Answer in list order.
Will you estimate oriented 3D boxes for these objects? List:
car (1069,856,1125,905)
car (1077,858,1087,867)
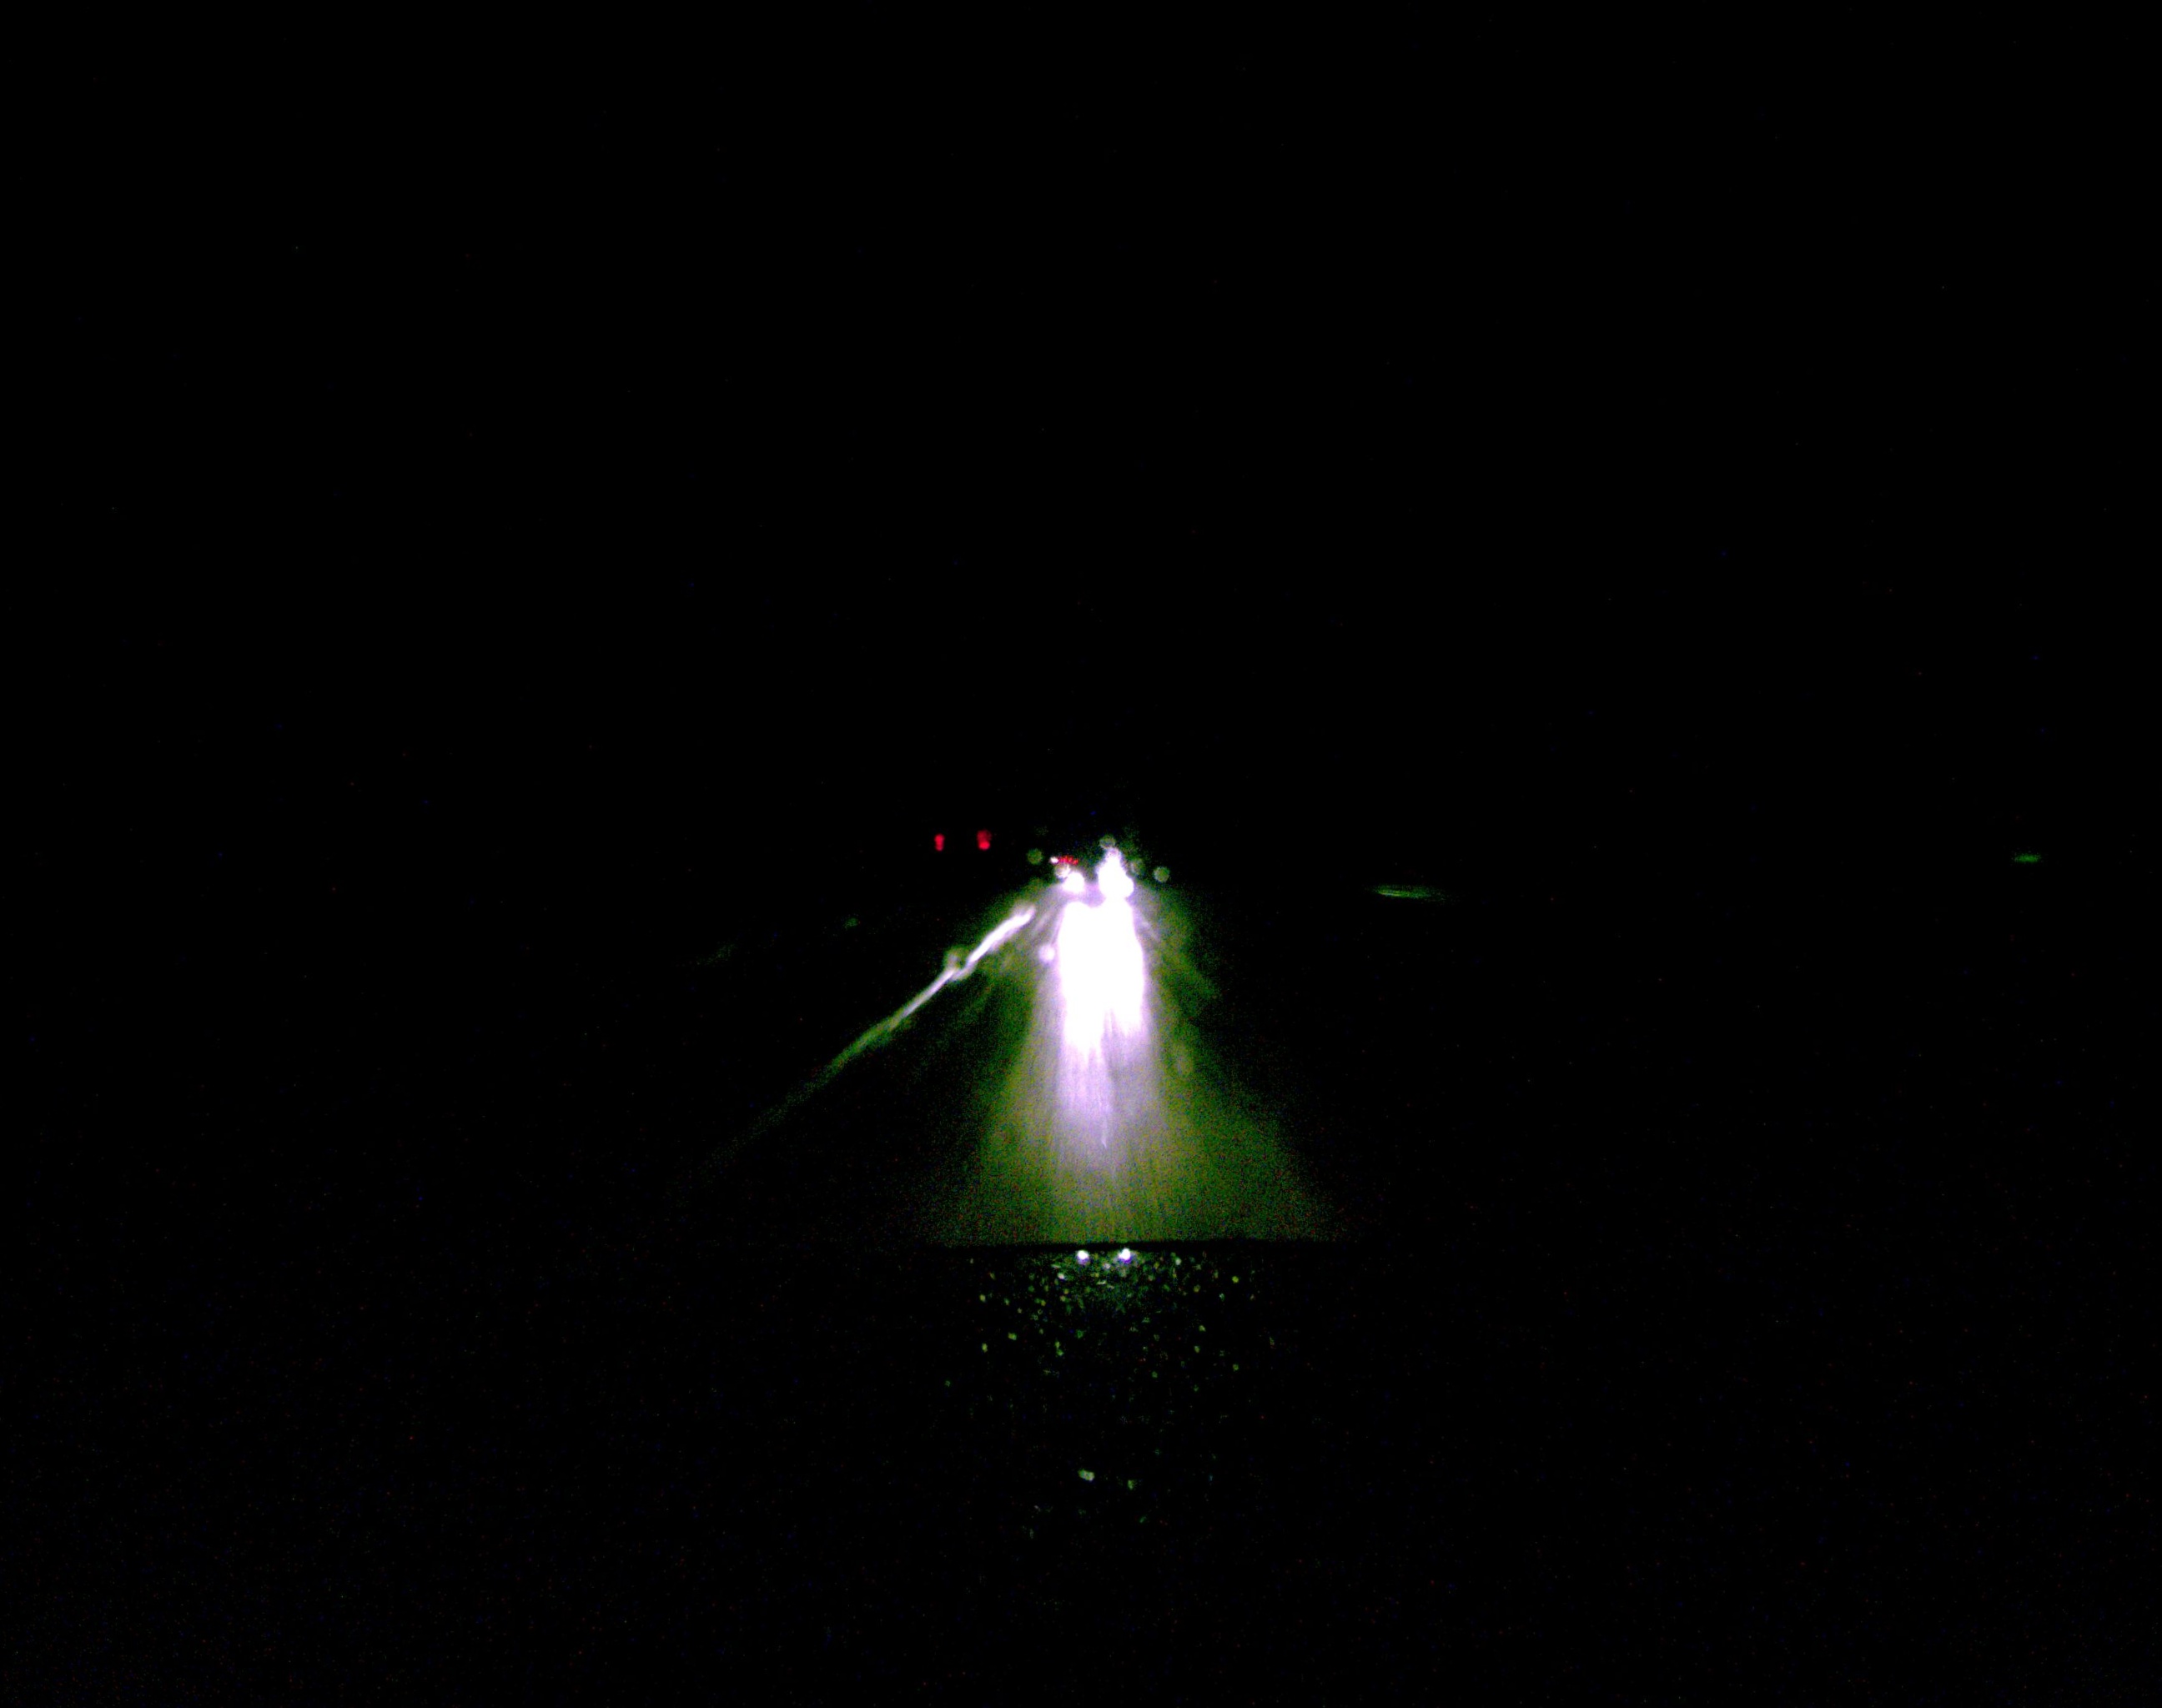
[{"bbox_3d":[0.522,0.941,28.850,1.863,1.601,4.419,-4,0,-1],"label":"car"},{"bbox_3d":[0.146,1.693,154.353,1.894,1.628,4.155,-3,1,-1],"label":"car"}]
